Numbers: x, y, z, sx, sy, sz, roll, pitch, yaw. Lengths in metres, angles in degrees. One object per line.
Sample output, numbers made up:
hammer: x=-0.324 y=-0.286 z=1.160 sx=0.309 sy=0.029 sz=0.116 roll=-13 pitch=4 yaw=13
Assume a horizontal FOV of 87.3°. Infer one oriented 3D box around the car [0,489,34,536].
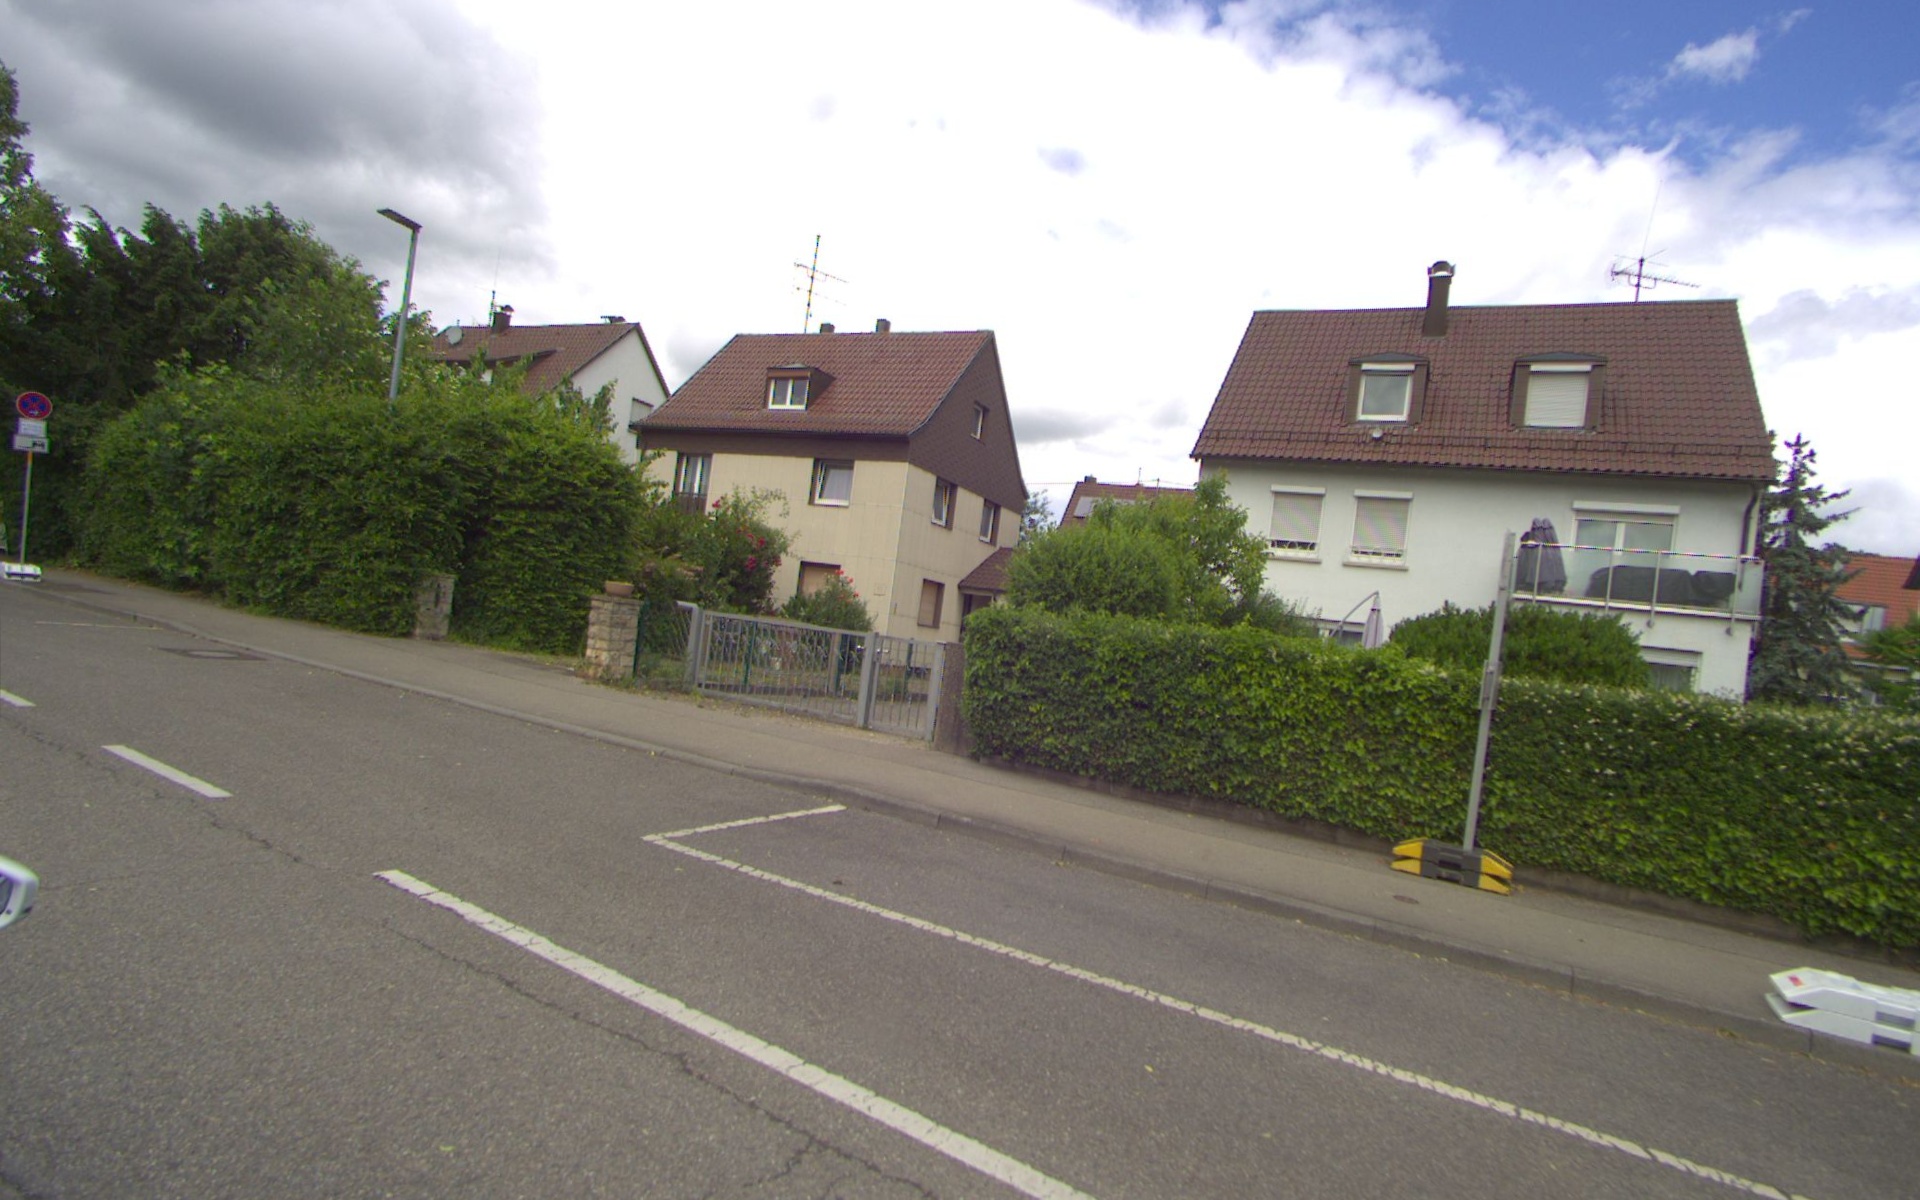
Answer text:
car: x=-38.696 y=-3.703 z=38.461 sx=1.622 sy=1.680 sz=4.409 roll=7 pitch=-3 yaw=30
